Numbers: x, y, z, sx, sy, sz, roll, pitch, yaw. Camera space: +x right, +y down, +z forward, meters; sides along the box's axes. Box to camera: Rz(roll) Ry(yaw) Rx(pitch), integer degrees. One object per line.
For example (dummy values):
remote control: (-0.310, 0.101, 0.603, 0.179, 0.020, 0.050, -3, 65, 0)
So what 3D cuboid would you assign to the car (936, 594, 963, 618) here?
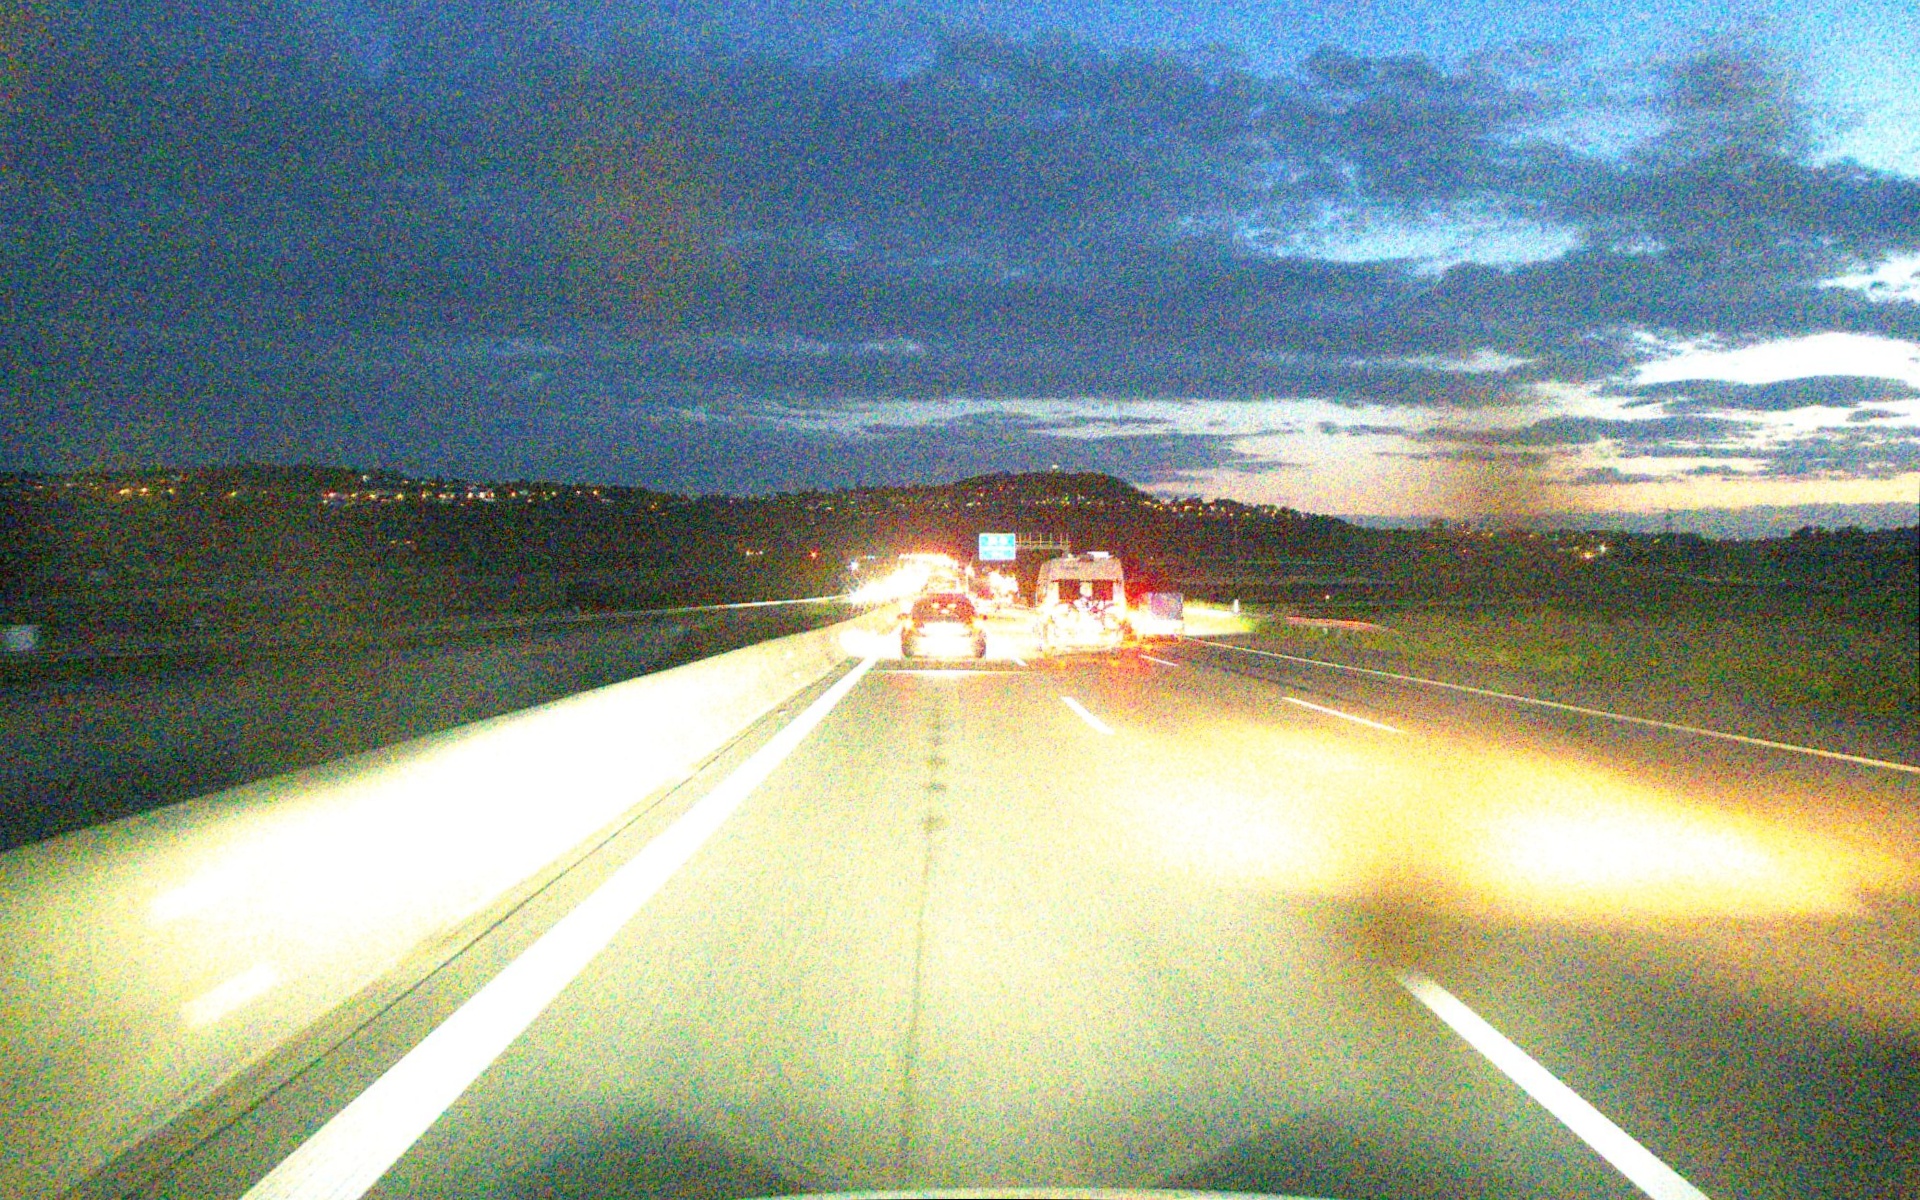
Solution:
car: (-0.682, 0.351, 106.776, 1.709, 1.465, 4.367, -1, 1, 0)

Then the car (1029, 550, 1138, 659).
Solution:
car: (3.101, 0.067, 42.769, 2.303, 2.579, 5.700, -1, 1, -1)

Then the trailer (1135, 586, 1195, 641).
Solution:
trailer: (6.668, 0.414, 53.960, 1.534, 1.723, 2.820, 0, 0, -1)

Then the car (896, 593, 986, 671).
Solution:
car: (-0.386, 0.618, 34.523, 1.757, 1.494, 3.772, 0, 1, -1)

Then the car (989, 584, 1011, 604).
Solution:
car: (4.420, -0.694, 184.434, 2.303, 2.112, 4.722, -1, 1, -1)

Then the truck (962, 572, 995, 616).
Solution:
truck: (1.741, -0.577, 157.226, 2.725, 4.024, 7.990, -1, 0, -2)

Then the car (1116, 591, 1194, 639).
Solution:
car: (6.745, 0.485, 57.623, 2.119, 1.591, 4.722, 0, 0, -1)

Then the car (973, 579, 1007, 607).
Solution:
car: (2.117, -0.530, 119.279, 2.303, 1.947, 4.722, -1, 0, -1)
